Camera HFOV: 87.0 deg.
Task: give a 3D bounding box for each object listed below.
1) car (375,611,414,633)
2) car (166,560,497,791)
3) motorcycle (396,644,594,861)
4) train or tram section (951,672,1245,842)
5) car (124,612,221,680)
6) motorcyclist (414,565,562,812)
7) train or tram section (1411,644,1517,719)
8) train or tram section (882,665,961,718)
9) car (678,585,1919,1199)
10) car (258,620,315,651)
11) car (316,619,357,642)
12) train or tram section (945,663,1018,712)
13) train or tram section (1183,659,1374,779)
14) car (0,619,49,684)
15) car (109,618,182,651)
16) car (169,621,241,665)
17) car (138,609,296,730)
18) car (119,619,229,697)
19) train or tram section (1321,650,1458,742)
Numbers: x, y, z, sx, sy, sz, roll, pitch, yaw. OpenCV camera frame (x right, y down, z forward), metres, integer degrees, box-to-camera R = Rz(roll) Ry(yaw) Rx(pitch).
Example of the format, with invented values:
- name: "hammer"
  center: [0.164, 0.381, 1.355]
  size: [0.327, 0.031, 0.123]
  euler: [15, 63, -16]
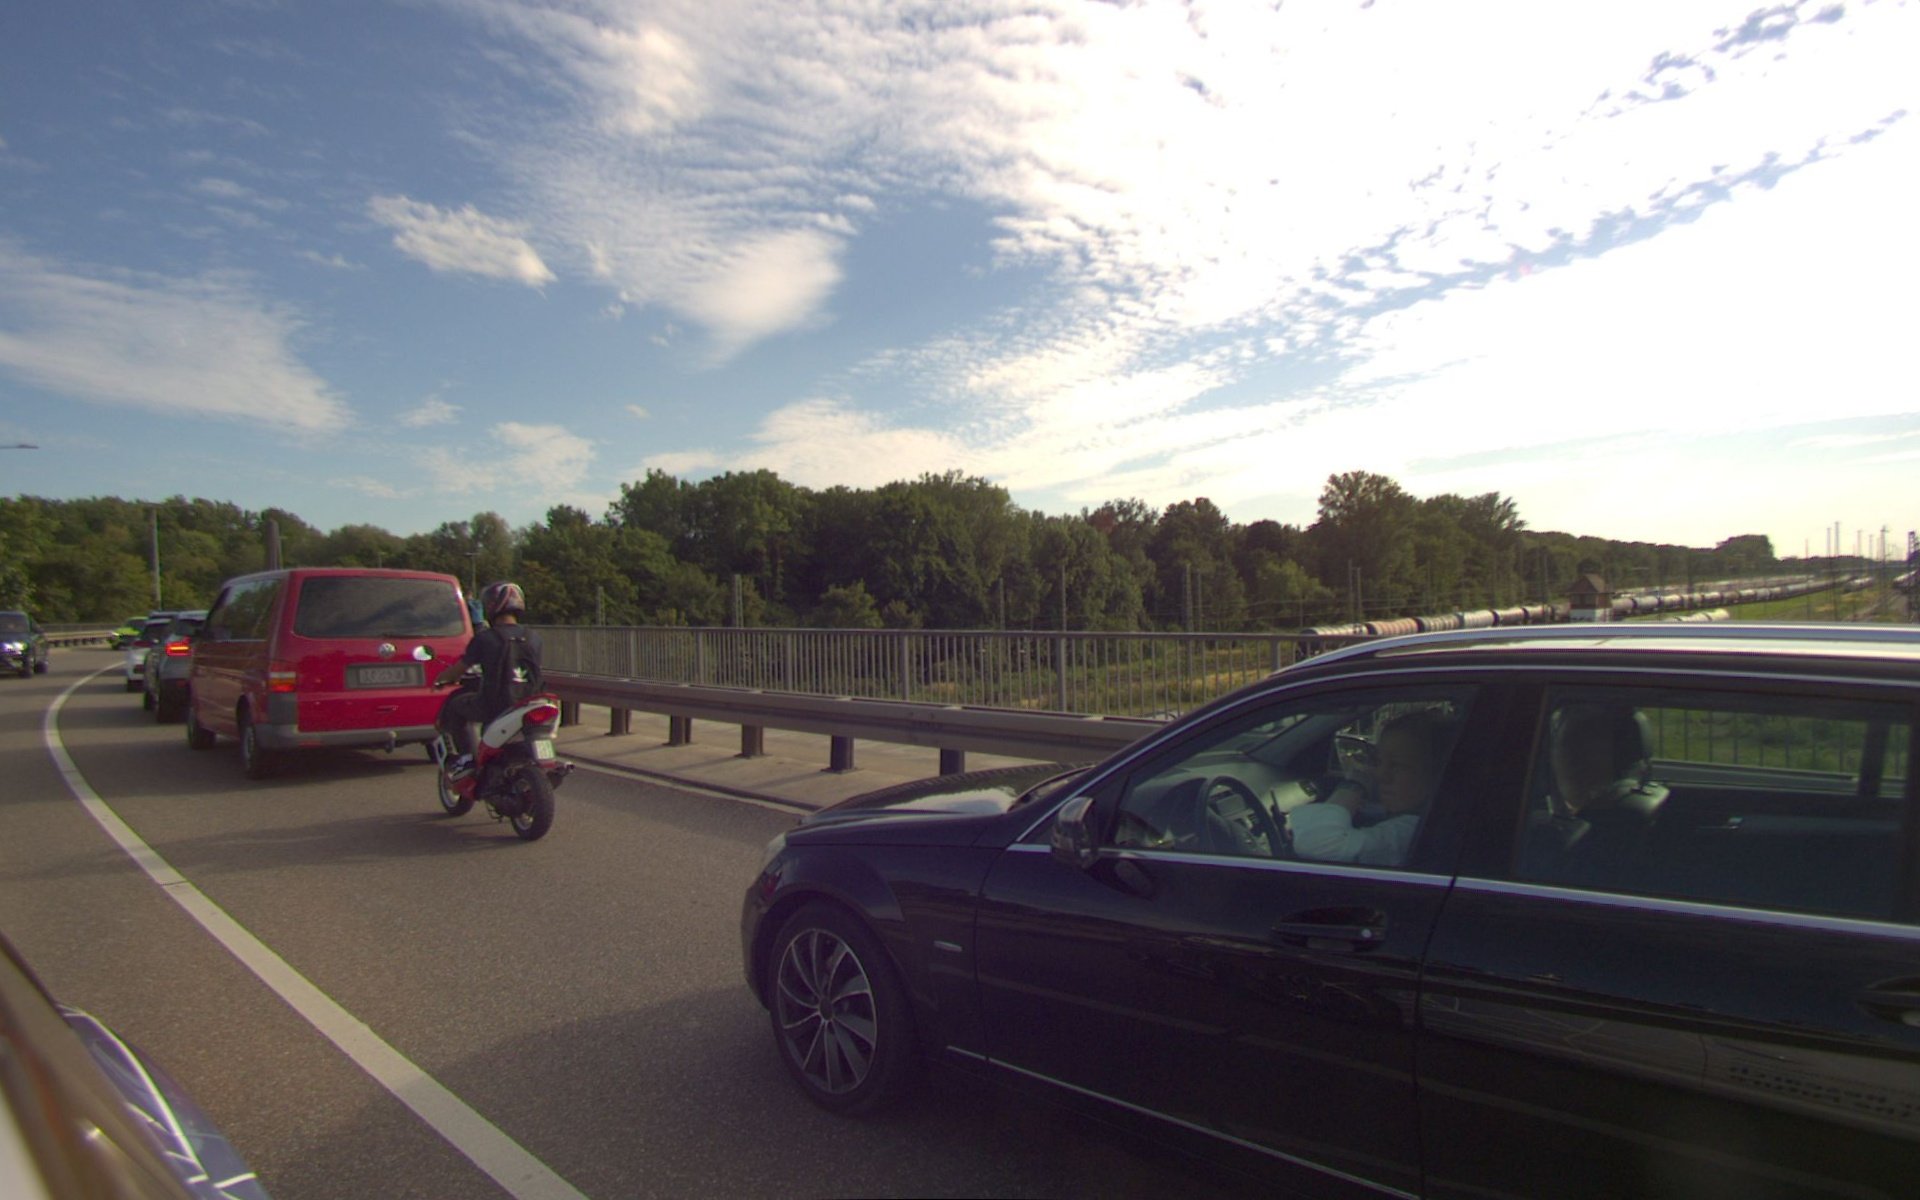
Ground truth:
- name: "car"
  center: [-44.620, 1.724, 79.895]
  size: [1.843, 1.679, 4.644]
  euler: [0, -1, -19]
- name: "car"
  center: [-6.906, 0.672, 10.852]
  size: [1.984, 1.918, 4.871]
  euler: [1, -2, -44]
- name: "motorcycle"
  center: [-3.226, 0.953, 6.945]
  size: [1.793, 1.262, 0.613]
  euler: [-1, -2, 44]
- name: "train or tram section"
  center: [6.295, 5.708, 40.684]
  size: [3.096, 4.748, 16.517]
  euler: [-1, -1, 42]
- name: "car"
  center: [-21.580, 1.199, 27.886]
  size: [1.805, 1.685, 4.878]
  euler: [1, -1, -35]
- name: "motorcyclist"
  center: [-3.258, 0.573, 6.973]
  size: [0.938, 1.565, 0.613]
  euler: [-1, -2, 44]
- name: "train or tram section"
  center: [39.011, 6.000, 77.790]
  size: [3.096, 4.748, 16.517]
  euler: [-1, -1, 42]
- name: "train or tram section"
  center: [-3.059, 7.394, 82.556]
  size: [6.738, 3.812, 2.054]
  euler: [1, -1, -42]
- name: "car"
  center: [1.374, 0.740, 2.519]
  size: [4.515, 1.477, 1.814]
  euler: [-1, -2, 41]
- name: "car"
  center: [-33.748, 1.760, 50.815]
  size: [1.735, 1.501, 4.405]
  euler: [1, -1, -25]
- name: "car"
  center: [-41.468, 2.007, 67.393]
  size: [1.735, 1.501, 4.405]
  euler: [1, -1, -23]
- name: "train or tram section"
  center: [1.907, 7.447, 87.101]
  size: [6.738, 3.812, 2.054]
  euler: [1, -1, -42]
- name: "train or tram section"
  center: [17.180, 5.785, 53.018]
  size: [3.096, 4.748, 16.517]
  euler: [-1, -1, 42]
- name: "car"
  center: [-24.075, 1.226, 25.185]
  size: [1.791, 1.518, 4.399]
  euler: [1, -1, -39]
- name: "car"
  center: [-36.496, 1.527, 45.455]
  size: [1.789, 1.415, 4.405]
  euler: [1, -1, -29]
- name: "car"
  center: [-27.276, 1.507, 36.652]
  size: [1.736, 1.501, 4.458]
  euler: [1, -1, -32]
- name: "car"
  center: [-11.690, 0.975, 15.802]
  size: [1.730, 1.622, 4.321]
  euler: [1, -2, -40]
- name: "car"
  center: [-17.004, 1.179, 21.868]
  size: [1.718, 1.512, 4.085]
  euler: [1, -2, -39]
- name: "train or tram section"
  center: [28.117, 5.854, 65.435]
  size: [3.096, 4.748, 16.517]
  euler: [-1, -1, 42]
